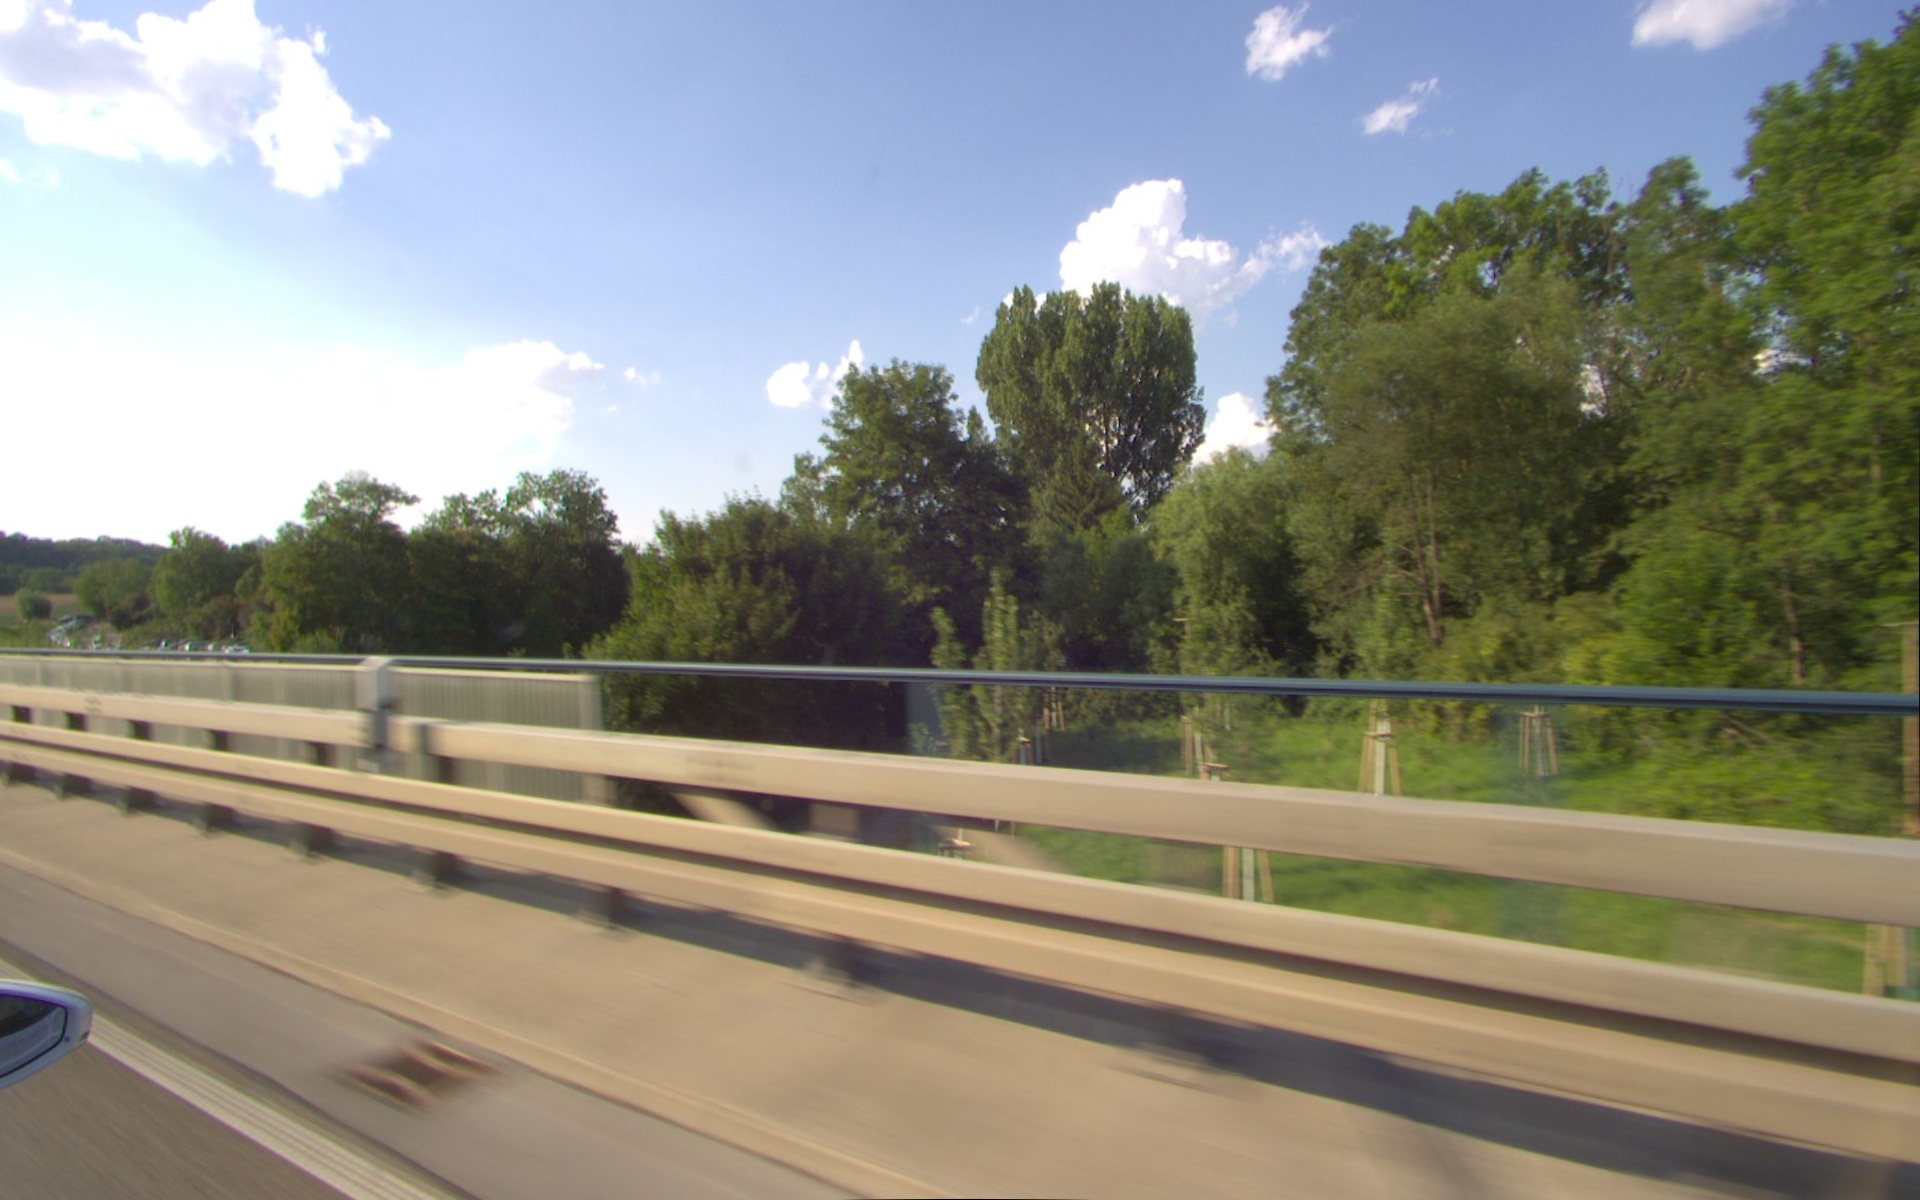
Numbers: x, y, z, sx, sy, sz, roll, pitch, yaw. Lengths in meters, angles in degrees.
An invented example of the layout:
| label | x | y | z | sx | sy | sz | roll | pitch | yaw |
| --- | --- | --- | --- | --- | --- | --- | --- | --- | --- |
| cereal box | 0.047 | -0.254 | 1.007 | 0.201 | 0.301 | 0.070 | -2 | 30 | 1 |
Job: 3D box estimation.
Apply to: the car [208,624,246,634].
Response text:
| label | x | y | z | sx | sy | sz | roll | pitch | yaw |
| --- | --- | --- | --- | --- | --- | --- | --- | --- | --- |
| car | -111.979 | 4.436 | 152.911 | 1.707 | 1.475 | 4.399 | 2 | 0 | 27 |

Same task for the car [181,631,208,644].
| label | x | y | z | sx | sy | sz | roll | pitch | yaw |
| --- | --- | --- | --- | --- | --- | --- | --- | --- | --- |
| car | -98.548 | 4.798 | 128.907 | 4.166 | 1.516 | 1.650 | 0 | 0 | 35 |

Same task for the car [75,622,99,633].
| label | x | y | z | sx | sy | sz | roll | pitch | yaw |
| --- | --- | --- | --- | --- | --- | --- | --- | --- | --- |
| car | -138.547 | 4.373 | 158.847 | 4.719 | 1.503 | 1.884 | 2 | 4 | 37 |
